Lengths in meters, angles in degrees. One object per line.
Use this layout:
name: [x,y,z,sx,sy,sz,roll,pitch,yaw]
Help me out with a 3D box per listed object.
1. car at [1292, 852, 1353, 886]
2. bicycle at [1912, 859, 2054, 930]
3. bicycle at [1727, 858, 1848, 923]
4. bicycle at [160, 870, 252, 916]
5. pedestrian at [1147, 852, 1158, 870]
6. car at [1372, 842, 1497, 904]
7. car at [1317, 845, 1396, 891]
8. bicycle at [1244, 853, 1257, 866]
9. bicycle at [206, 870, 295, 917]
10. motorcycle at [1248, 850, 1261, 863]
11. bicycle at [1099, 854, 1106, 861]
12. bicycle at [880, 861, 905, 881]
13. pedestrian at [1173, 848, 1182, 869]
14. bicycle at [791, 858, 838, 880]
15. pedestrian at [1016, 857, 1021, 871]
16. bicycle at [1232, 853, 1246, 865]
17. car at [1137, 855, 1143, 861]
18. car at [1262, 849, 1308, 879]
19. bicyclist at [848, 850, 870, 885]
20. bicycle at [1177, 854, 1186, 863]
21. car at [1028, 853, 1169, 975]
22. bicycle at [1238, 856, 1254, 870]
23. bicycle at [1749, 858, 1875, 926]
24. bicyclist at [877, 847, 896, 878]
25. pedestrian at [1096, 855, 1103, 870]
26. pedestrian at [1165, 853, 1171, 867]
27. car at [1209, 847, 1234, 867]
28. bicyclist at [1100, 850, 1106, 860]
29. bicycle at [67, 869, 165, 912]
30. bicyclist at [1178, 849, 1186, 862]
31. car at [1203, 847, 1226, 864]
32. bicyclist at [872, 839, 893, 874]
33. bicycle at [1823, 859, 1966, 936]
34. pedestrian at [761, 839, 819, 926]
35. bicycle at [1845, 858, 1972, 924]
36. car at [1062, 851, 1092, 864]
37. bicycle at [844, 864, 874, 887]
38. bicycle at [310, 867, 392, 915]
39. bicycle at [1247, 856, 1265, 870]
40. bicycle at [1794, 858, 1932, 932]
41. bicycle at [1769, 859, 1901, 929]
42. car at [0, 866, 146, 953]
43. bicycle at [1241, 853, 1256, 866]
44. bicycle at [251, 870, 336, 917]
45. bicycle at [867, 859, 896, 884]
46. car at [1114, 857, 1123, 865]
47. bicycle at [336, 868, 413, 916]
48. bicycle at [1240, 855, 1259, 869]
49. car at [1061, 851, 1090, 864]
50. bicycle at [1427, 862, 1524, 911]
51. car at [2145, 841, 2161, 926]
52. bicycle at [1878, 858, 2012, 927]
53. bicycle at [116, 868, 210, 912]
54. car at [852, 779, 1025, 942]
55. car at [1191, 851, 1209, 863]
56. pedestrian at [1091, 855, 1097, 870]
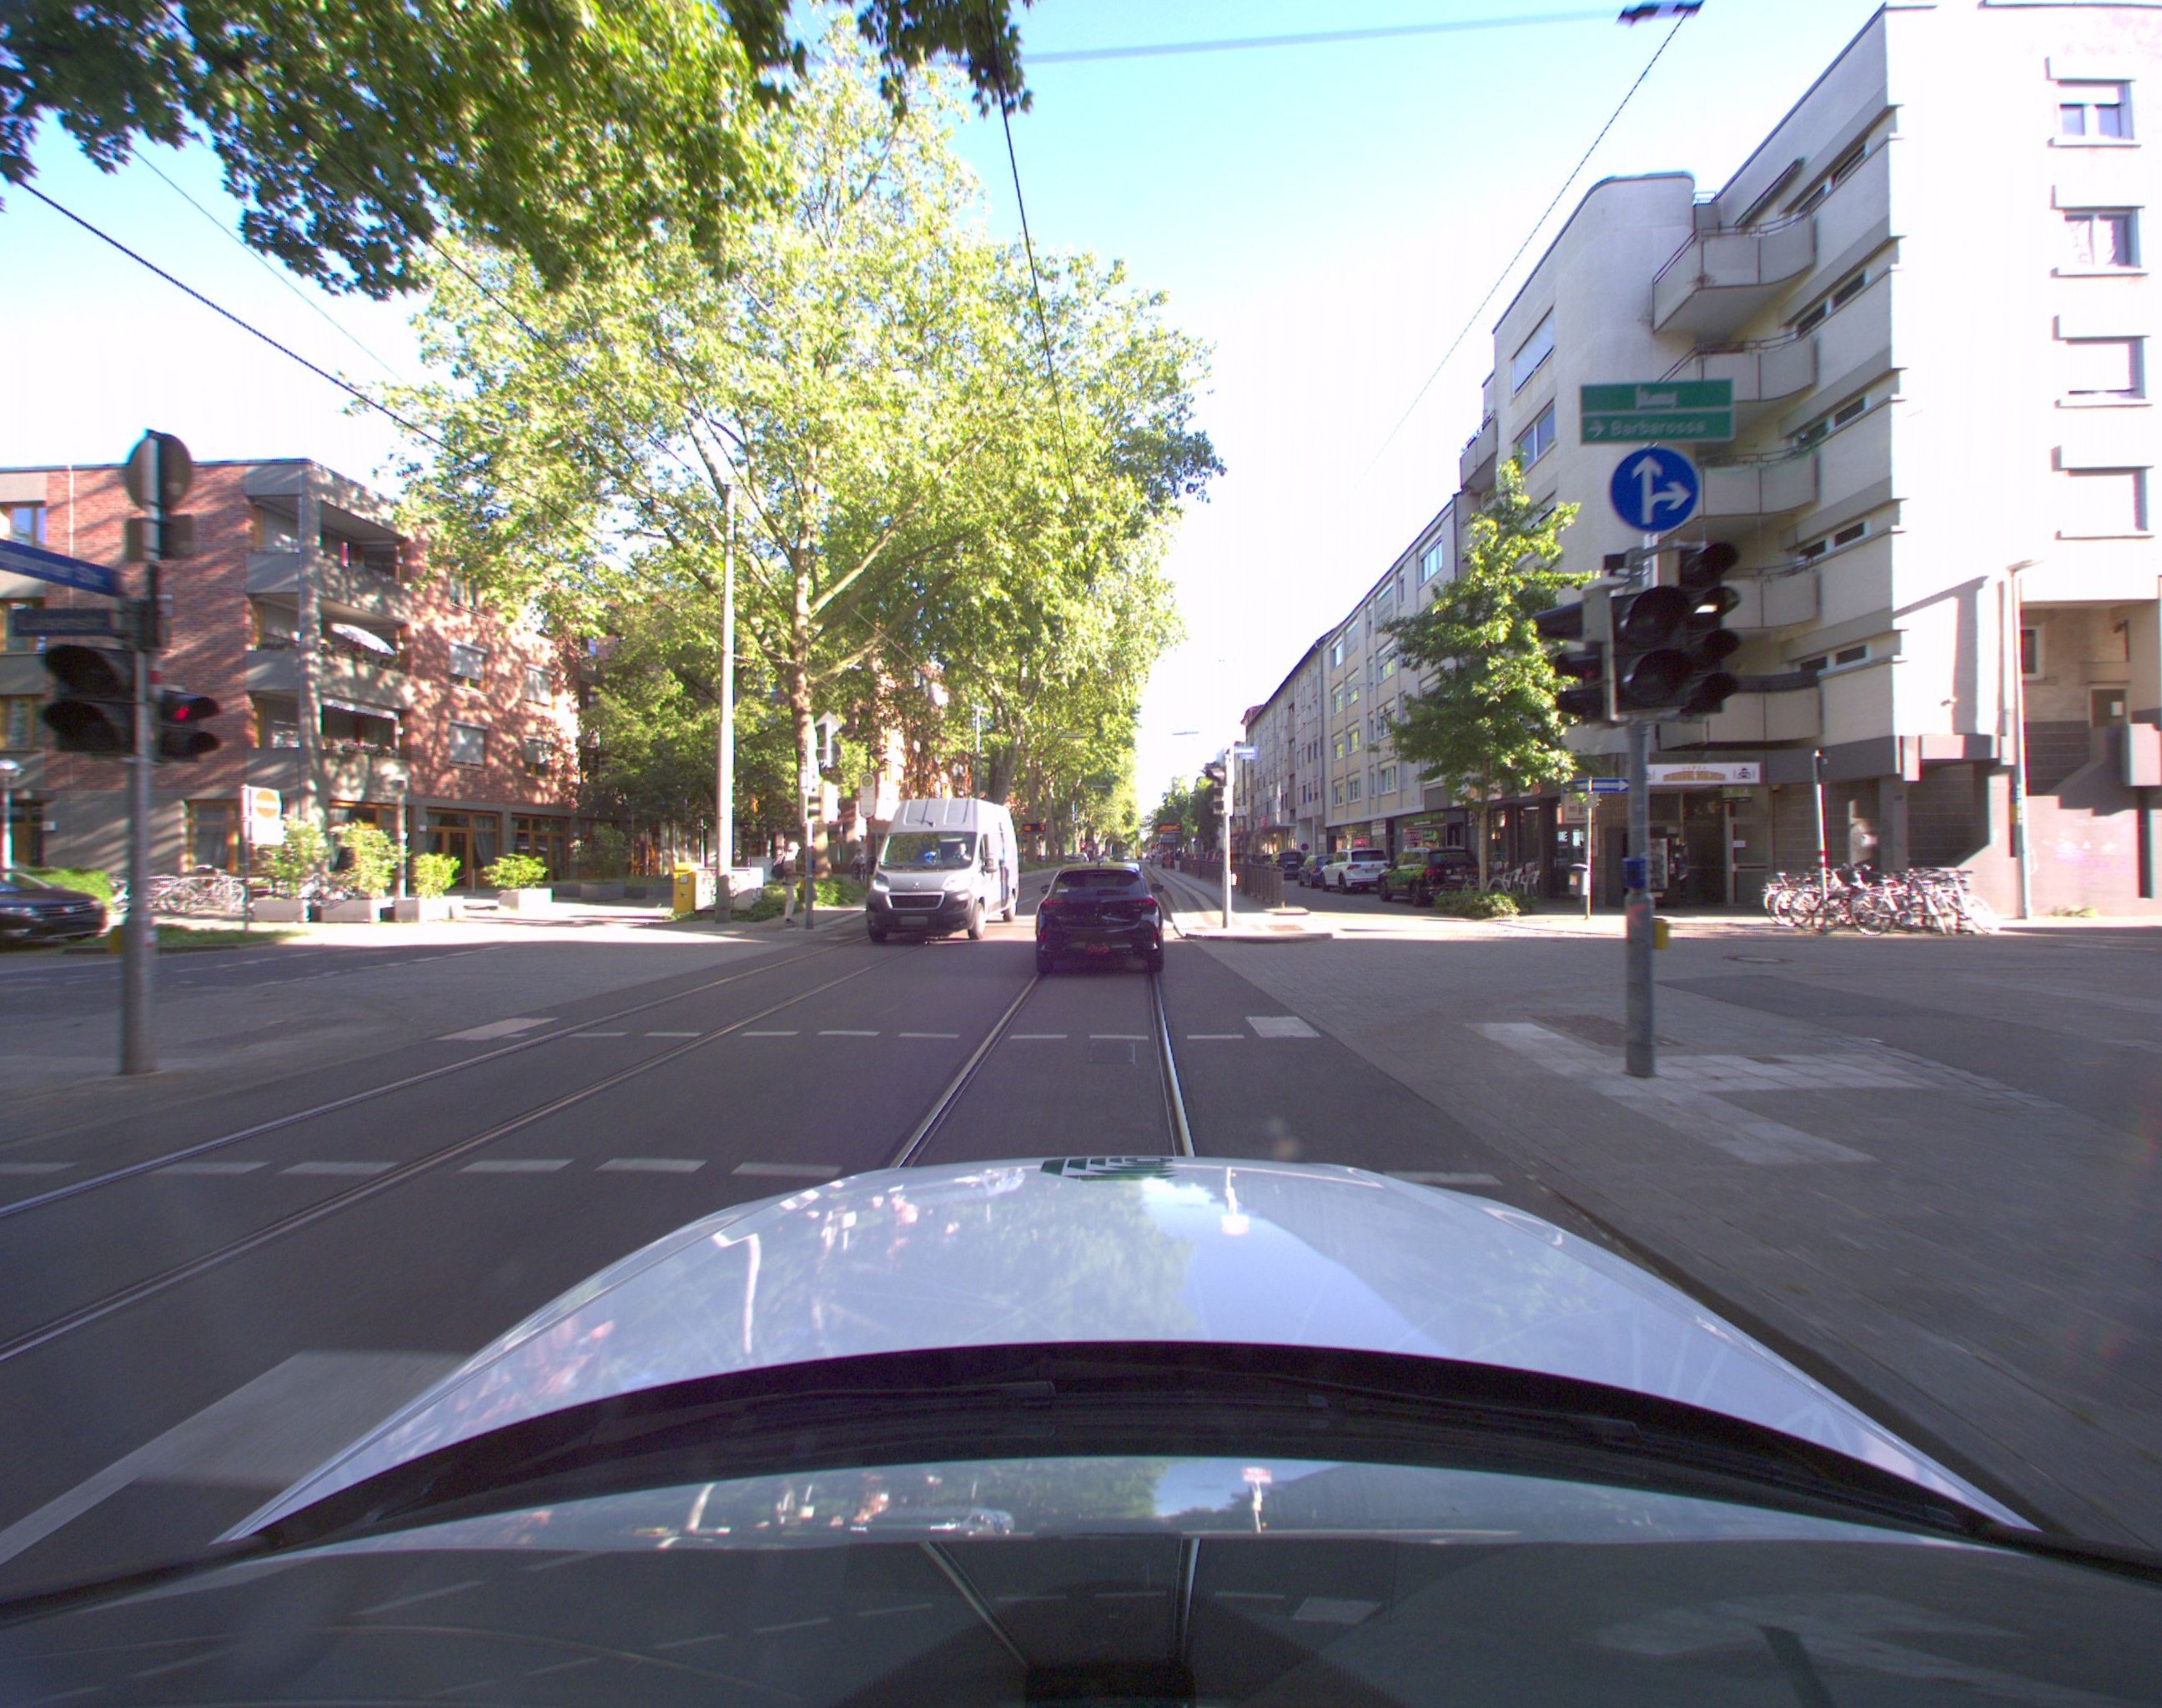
car: [10.748,0.648,36.566,1.736,1.440,4.251,0,-1,4]
bicycle: [15.652,0.690,14.149,1.908,1.207,0.511,0,1,-1]
bicycle: [13.622,0.698,15.721,1.908,1.208,0.511,0,-1,-1]
bicycle: [-22.561,0.986,21.044,0.539,1.084,1.640,0,1,2]
pedestrian: [6.975,0.660,79.842,0.742,1.709,0.768,0,-1,38]
car: [10.183,0.522,23.884,1.985,1.615,4.449,-1,-1,4]
car: [10.381,0.500,30.994,1.791,1.606,4.419,0,-1,4]
bicycle: [14.711,0.511,70.897,0.410,1.136,2.198,1,-1,-7]
bicycle: [-21.491,0.997,21.115,0.539,1.084,1.640,0,2,2]
motorcycle: [17.160,0.238,80.585,0.888,1.280,2.045,0,-1,4]
bicycle: [3.673,0.553,141.789,0.950,1.240,2.983,0,-1,7]
bicycle: [-10.809,0.953,46.698,0.779,1.111,2.596,0,-1,1]
pedestrian: [7.239,0.350,61.068,0.628,1.576,0.871,2,0,4]
bicycle: [-14.581,0.801,44.631,2.330,1.166,0.683,1,-1,4]
pedestrian: [-8.710,1.356,113.287,0.670,1.950,0.498,1,0,0]
bicycle: [14.291,0.461,73.594,0.597,1.136,2.198,1,-1,-7]
car: [17.666,1.159,242.810,1.738,1.544,4.002,0,-1,2]
car: [11.710,0.576,46.963,1.849,1.615,4.402,0,-1,4]
bicyclist: [-11.195,0.677,41.108,0.771,1.750,0.998,0,-1,1]
bicycle: [13.558,0.648,109.641,0.859,1.136,2.393,0,-1,-2]
car: [0.274,0.765,12.048,1.753,1.508,3.684,-1,-1,2]
bicycle: [13.759,0.714,67.977,0.602,1.136,2.428,1,-1,-7]
bicycle: [13.605,0.696,15.180,1.908,1.207,0.511,-1,0,-1]
bicyclist: [-11.125,0.503,46.594,0.771,1.750,0.998,0,-1,1]
pedestrian: [2.618,1.228,115.453,0.670,2.013,0.704,1,0,15]
pedestrian: [7.820,0.539,73.146,0.501,1.304,0.428,0,-1,-1]
car: [14.000,0.303,81.153,1.985,1.952,4.003,0,-1,3]
bicyclist: [3.791,0.166,142.688,0.936,1.703,1.155,0,-1,7]
bicycle: [-25.284,0.934,21.380,0.539,1.084,1.639,0,-1,2]
bicyclist: [13.561,0.171,109.677,0.859,1.759,1.052,0,-1,-3]
car: [14.400,0.212,87.836,1.985,1.797,4.003,0,-1,3]
bicyclist: [-10.022,0.143,41.140,0.779,1.763,0.951,0,-1,1]
bicycle: [13.532,0.718,13.567,1.908,1.207,0.511,-1,1,-1]
pedestrian: [-6.346,0.597,17.821,0.921,1.835,0.920,0,2,-1]
bicycle: [15.657,0.689,15.426,1.908,1.208,0.511,0,-1,-1]
car: [-0.550,0.437,111.206,4.105,1.701,1.881,0,-1,-4]
bicycle: [-11.202,1.069,41.158,0.779,1.111,2.596,0,-1,1]
bicycle: [-18.549,0.922,20.732,0.539,1.084,1.640,0,2,2]
bicycle: [14.067,0.700,65.517,0.621,1.136,2.433,1,-1,-7]
bicycle: [13.514,0.703,14.091,1.908,1.207,0.511,-1,1,-1]
bicycle: [13.525,0.705,14.626,1.908,1.207,0.511,-1,0,-1]
car: [-20.957,1.000,15.530,3.971,1.508,2.001,0,-1,2]
bicycle: [14.929,0.456,72.546,0.597,1.136,2.198,1,-1,-7]
bicycle: [-20.224,0.991,20.967,0.539,1.084,1.640,0,1,2]
bicycle: [-10.043,0.861,41.125,0.779,1.191,2.596,0,-1,1]
car: [7.061,1.273,154.153,1.738,1.544,4.002,0,-1,2]
bicycle: [-17.925,0.952,20.707,0.539,1.084,1.538,0,2,2]
bicycle: [14.331,0.676,69.366,0.610,1.136,2.914,1,-1,-7]
car: [-0.822,0.560,123.348,4.375,1.851,1.997,0,-1,-4]
bicycle: [9.875,0.807,20.447,2.112,1.187,0.683,0,-1,11]
car: [21.124,0.519,13.398,4.564,1.477,1.873,-1,2,4]
bicycle: [15.650,0.686,14.763,1.908,1.208,0.511,1,-1,-1]
bicycle: [-23.952,0.910,21.286,0.539,1.084,1.639,0,-1,2]
car: [-2.657,0.138,16.954,2.104,2.738,6.120,-1,-1,4]
car: [14.613,0.399,100.195,1.985,1.486,4.004,0,-1,4]
pedestrian: [1.869,1.223,115.585,0.671,2.013,0.703,1,0,10]
